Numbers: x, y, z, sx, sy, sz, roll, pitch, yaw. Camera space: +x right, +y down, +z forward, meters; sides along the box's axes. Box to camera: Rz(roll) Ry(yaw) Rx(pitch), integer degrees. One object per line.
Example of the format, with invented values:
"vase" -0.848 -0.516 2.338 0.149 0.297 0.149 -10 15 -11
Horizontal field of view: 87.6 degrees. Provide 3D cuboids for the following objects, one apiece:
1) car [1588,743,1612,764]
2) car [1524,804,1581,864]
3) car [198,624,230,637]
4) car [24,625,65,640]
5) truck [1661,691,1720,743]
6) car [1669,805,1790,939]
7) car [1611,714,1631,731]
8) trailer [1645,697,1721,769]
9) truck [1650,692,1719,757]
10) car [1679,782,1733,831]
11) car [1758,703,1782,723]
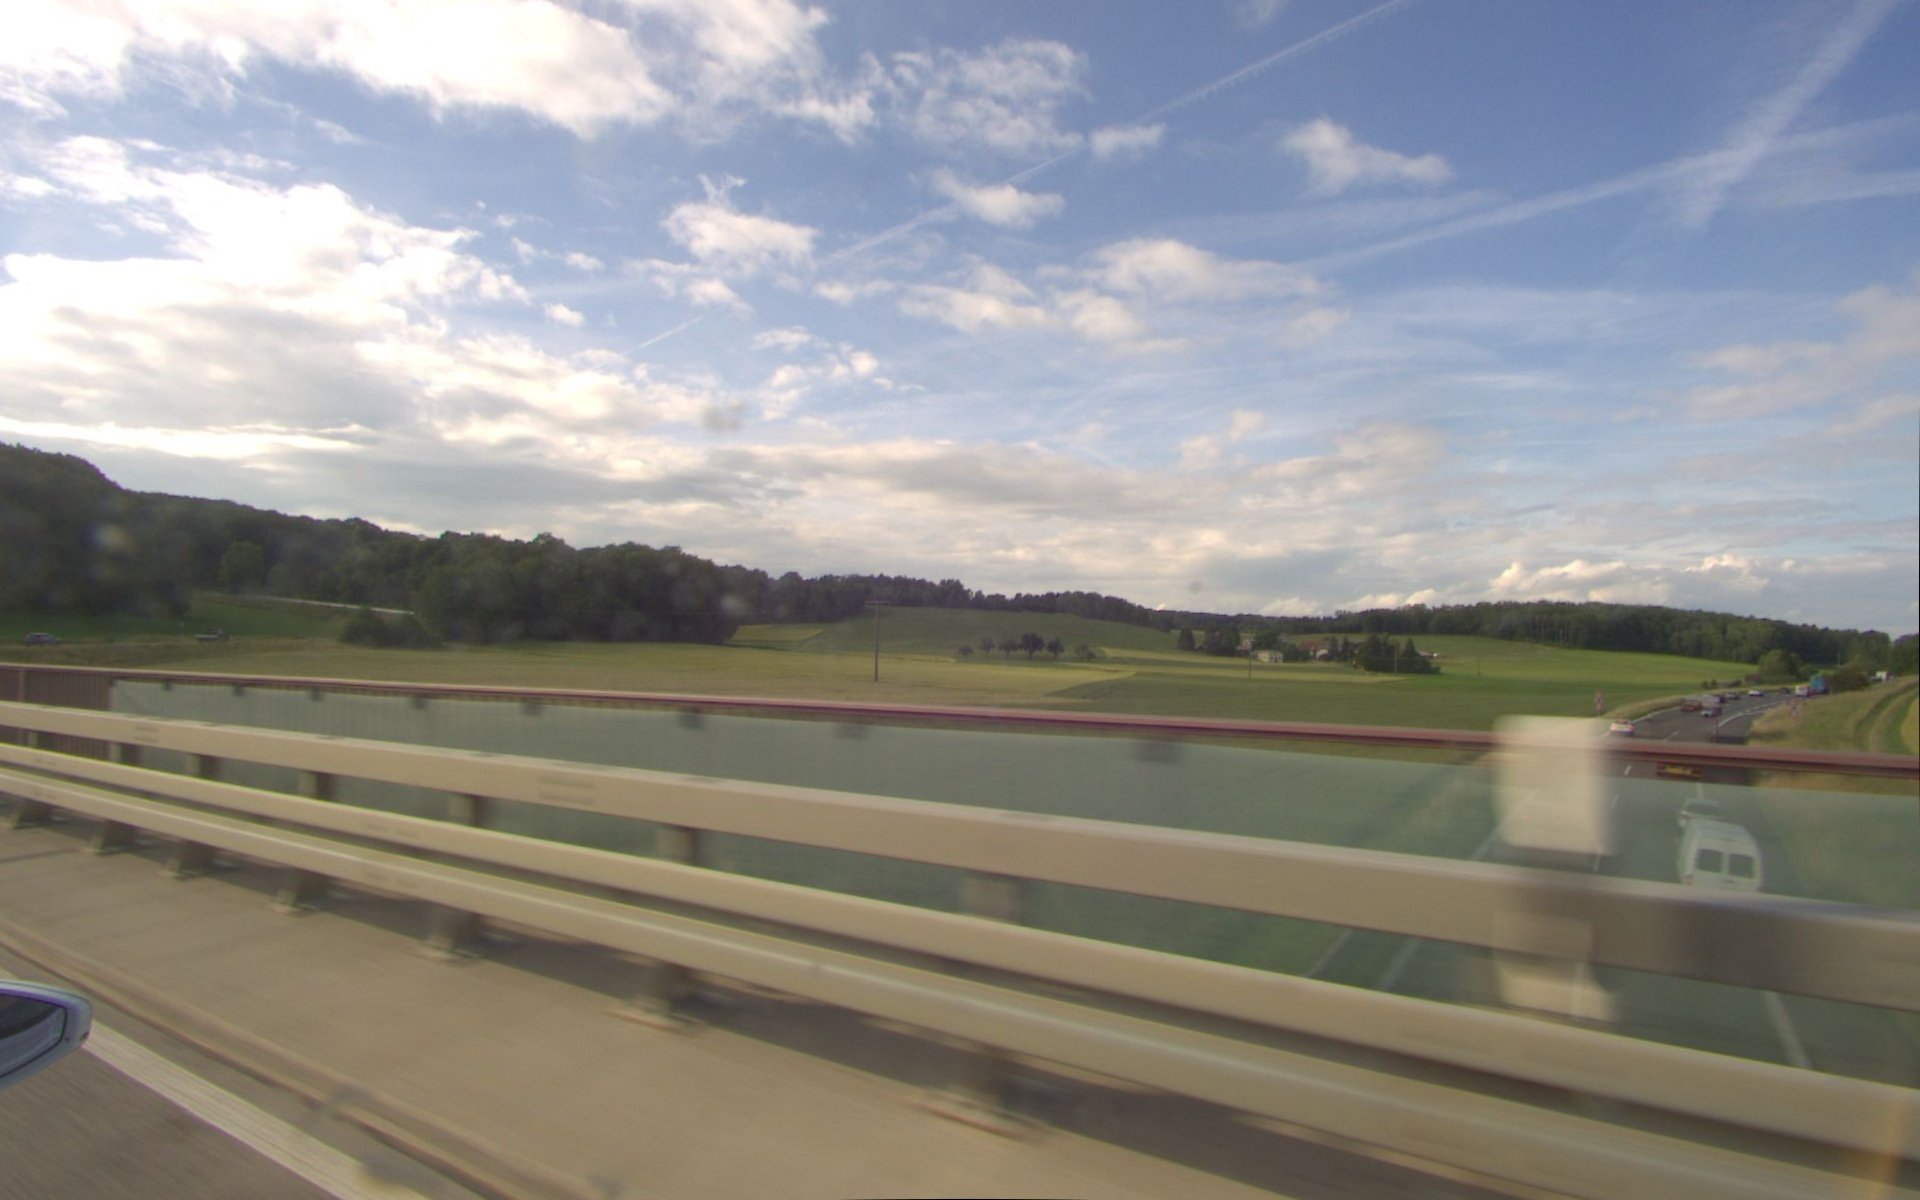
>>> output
"car" 48.230 11.541 75.448 1.360 1.283 3.081 0 -3 36
"car" 23.017 9.017 38.817 1.660 1.538 3.980 0 -3 34
"car" -114.840 4.760 154.245 1.961 1.793 4.004 1 -4 -2
"car" -110.008 3.937 120.416 1.965 1.699 4.173 3 -3 -17
"truck" 69.945 11.079 95.818 4.031 4.044 14.332 -5 -5 37
"car" 24.692 8.578 32.391 2.338 2.619 6.092 5 1 32
"car" 63.268 11.711 95.807 1.586 1.412 3.311 0 -3 34
"trailer" 48.094 8.653 66.593 3.790 4.109 9.073 -3 -4 37
"truck" 53.565 9.059 74.115 3.789 4.109 9.744 -3 -4 36
"car" 33.640 9.259 45.251 1.779 1.488 3.978 2 -1 35
"car" 93.417 13.046 115.464 1.977 2.038 3.973 -5 -5 38
